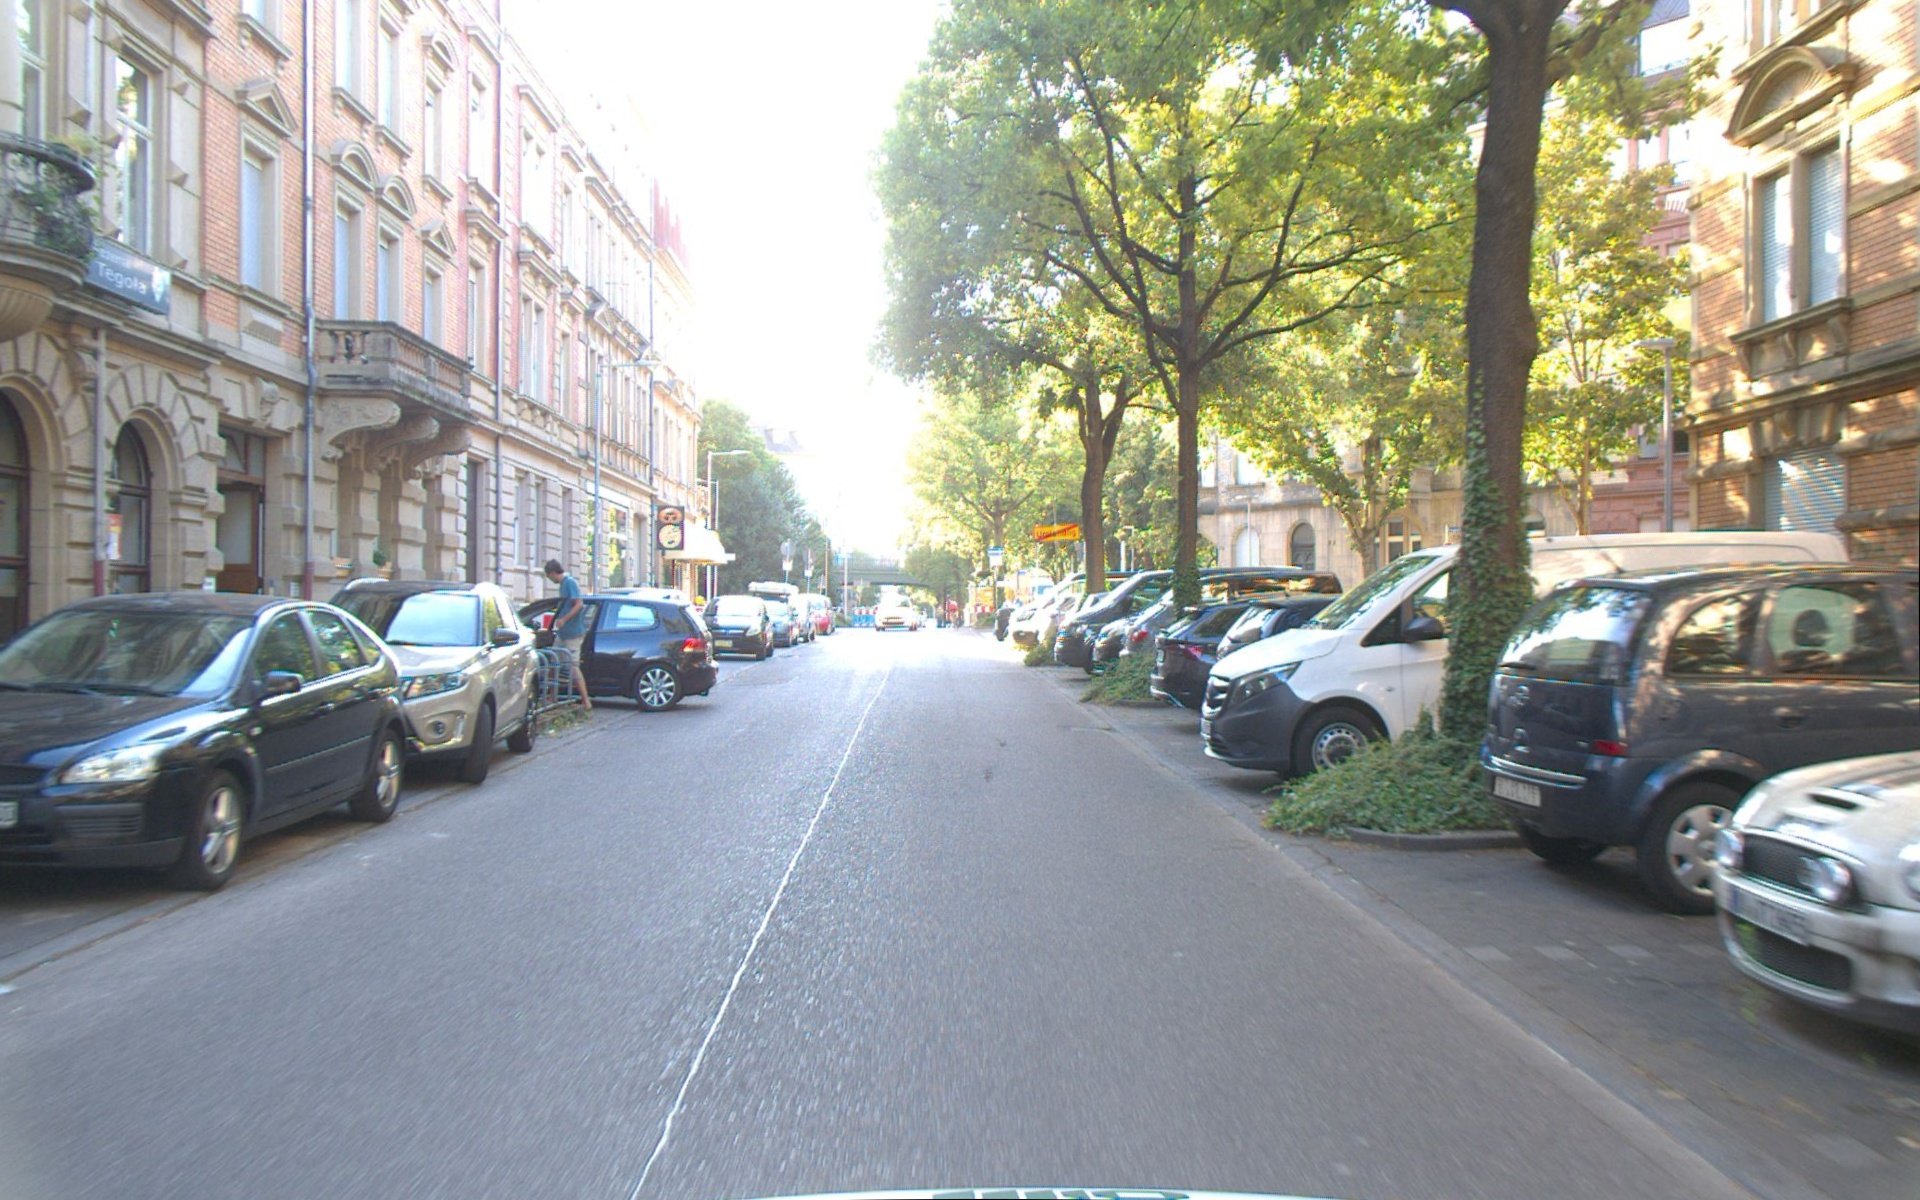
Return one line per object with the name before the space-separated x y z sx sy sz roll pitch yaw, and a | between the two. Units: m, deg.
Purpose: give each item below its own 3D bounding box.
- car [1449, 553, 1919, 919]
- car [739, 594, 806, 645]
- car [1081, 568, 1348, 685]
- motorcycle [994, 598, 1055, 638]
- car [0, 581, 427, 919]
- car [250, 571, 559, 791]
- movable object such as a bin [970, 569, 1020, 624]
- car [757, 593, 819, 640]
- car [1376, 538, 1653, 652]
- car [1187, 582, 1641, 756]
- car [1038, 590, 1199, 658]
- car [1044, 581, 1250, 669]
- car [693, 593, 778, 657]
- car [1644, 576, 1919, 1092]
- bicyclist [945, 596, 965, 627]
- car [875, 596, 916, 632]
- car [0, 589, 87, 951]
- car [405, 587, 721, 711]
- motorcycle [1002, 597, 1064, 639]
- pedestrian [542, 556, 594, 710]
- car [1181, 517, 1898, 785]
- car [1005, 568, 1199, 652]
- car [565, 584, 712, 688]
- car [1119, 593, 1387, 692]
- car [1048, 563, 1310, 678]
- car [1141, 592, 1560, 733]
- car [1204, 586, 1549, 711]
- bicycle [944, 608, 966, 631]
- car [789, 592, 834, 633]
car | 4.728 0.617 8.657 3.809 1.678 1.722 0 0 -6
car | -5.662 0.559 50.358 1.729 1.462 4.298 0 0 -3
car | 4.273 0.434 28.220 4.185 1.918 1.937 0 0 -5
motorcycle | 2.201 0.617 56.847 1.983 1.307 0.903 -2 0 -3
car | -4.554 0.684 9.661 1.614 1.498 3.999 3 0 -2
car | -4.695 0.604 14.565 1.616 1.601 4.045 3 0 -5
movable object such as a bin | 1.785 -0.159 83.737 1.951 2.747 3.113 0 -1 12
car | -5.740 0.544 55.575 1.690 1.462 3.995 2 0 -1
car | 13.034 -0.103 39.079 5.782 2.582 2.376 0 0 -7
car | 4.385 0.626 16.250 3.913 1.500 1.778 -1 0 -9
car | 3.847 0.579 40.629 3.763 1.623 1.740 0 0 -2
car | 3.721 0.481 33.401 3.907 1.722 1.799 0 0 -3
car | -5.396 0.568 40.190 1.669 1.480 4.018 0 0 -3
car | 4.776 0.687 5.820 4.026 1.529 1.809 0 0 -6
bicyclist | -0.223 0.512 74.633 0.788 1.407 0.984 1 0 -7
car | -2.822 0.589 72.916 1.713 1.535 3.999 0 0 -1
car | -4.711 0.710 5.533 1.550 1.499 3.999 0 0 -2
car | -5.193 0.615 22.103 3.911 1.556 1.823 0 0 -7
motorcycle | 2.415 0.598 54.945 1.975 1.350 0.620 0 0 -5
pedestrian | -4.983 0.408 21.023 0.627 1.921 0.590 0 0 -15
car | 4.428 0.436 13.304 4.988 1.974 2.157 0 -3 -1
car | 3.672 0.252 43.406 4.873 2.132 2.105 0 0 -2
car | -5.242 0.549 27.425 1.706 1.594 3.894 0 0 -1
car | 4.457 0.636 25.665 3.903 1.473 1.891 0 0 3
car | 3.986 0.364 30.618 4.524 2.049 1.999 0 0 -4
car | 4.306 0.666 18.727 4.280 1.481 1.933 0 0 -1
car | 5.300 0.600 21.403 3.998 1.524 1.843 0 0 -1
bicycle | -0.230 0.878 74.719 0.787 0.985 2.106 1 0 -6
car | -5.890 0.483 65.905 1.636 1.557 3.997 1 0 -4
